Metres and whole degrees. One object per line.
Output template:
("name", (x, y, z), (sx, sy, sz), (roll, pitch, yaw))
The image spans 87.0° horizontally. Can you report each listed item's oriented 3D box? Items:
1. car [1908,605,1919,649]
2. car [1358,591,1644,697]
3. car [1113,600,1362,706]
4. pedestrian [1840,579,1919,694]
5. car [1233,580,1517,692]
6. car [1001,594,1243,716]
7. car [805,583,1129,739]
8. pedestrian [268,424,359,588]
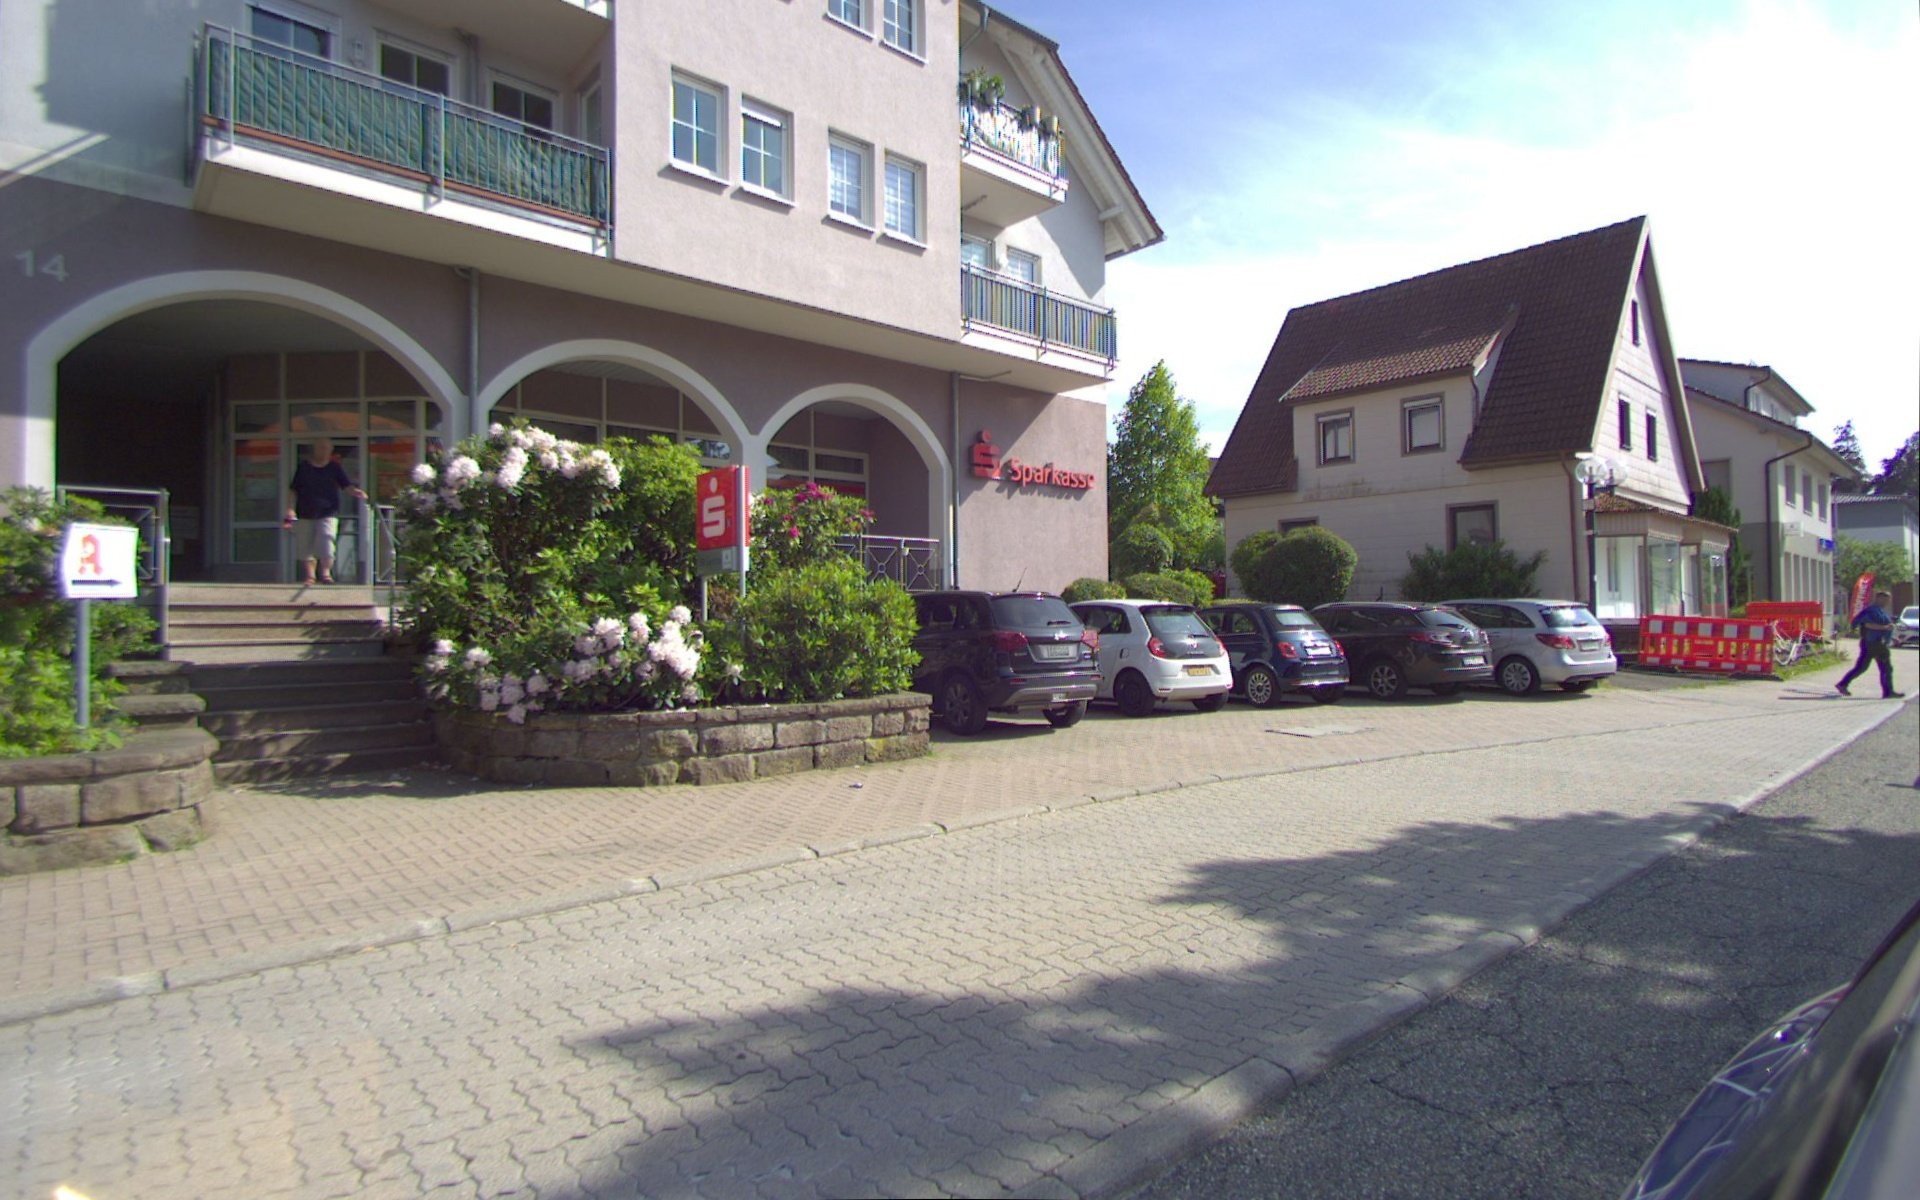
("car", (33.378, 0.911, 34.406), (1.634, 1.438, 3.874), (1, 0, 43))
("car", (9.032, 0.666, 17.220), (1.923, 1.578, 3.878), (1, -1, -29))
("car", (4.158, 0.756, 15.639), (1.552, 1.436, 3.570), (1, -1, -34))
("pedestrian", (15.029, 0.575, 16.535), (0.961, 1.807, 0.801), (1, 0, -37))
("car", (6.519, 0.557, 16.340), (1.703, 1.569, 4.002), (1, -2, -31))
("car", (2.195, 0.678, 14.350), (1.597, 1.487, 3.245), (1, 0, -34))
("car", (-0.068, 0.598, 12.404), (1.847, 1.567, 3.996), (0, 1, -39))
("pedestrian", (-7.294, -1.027, 11.424), (0.743, 1.744, 0.614), (2, 0, -39))
